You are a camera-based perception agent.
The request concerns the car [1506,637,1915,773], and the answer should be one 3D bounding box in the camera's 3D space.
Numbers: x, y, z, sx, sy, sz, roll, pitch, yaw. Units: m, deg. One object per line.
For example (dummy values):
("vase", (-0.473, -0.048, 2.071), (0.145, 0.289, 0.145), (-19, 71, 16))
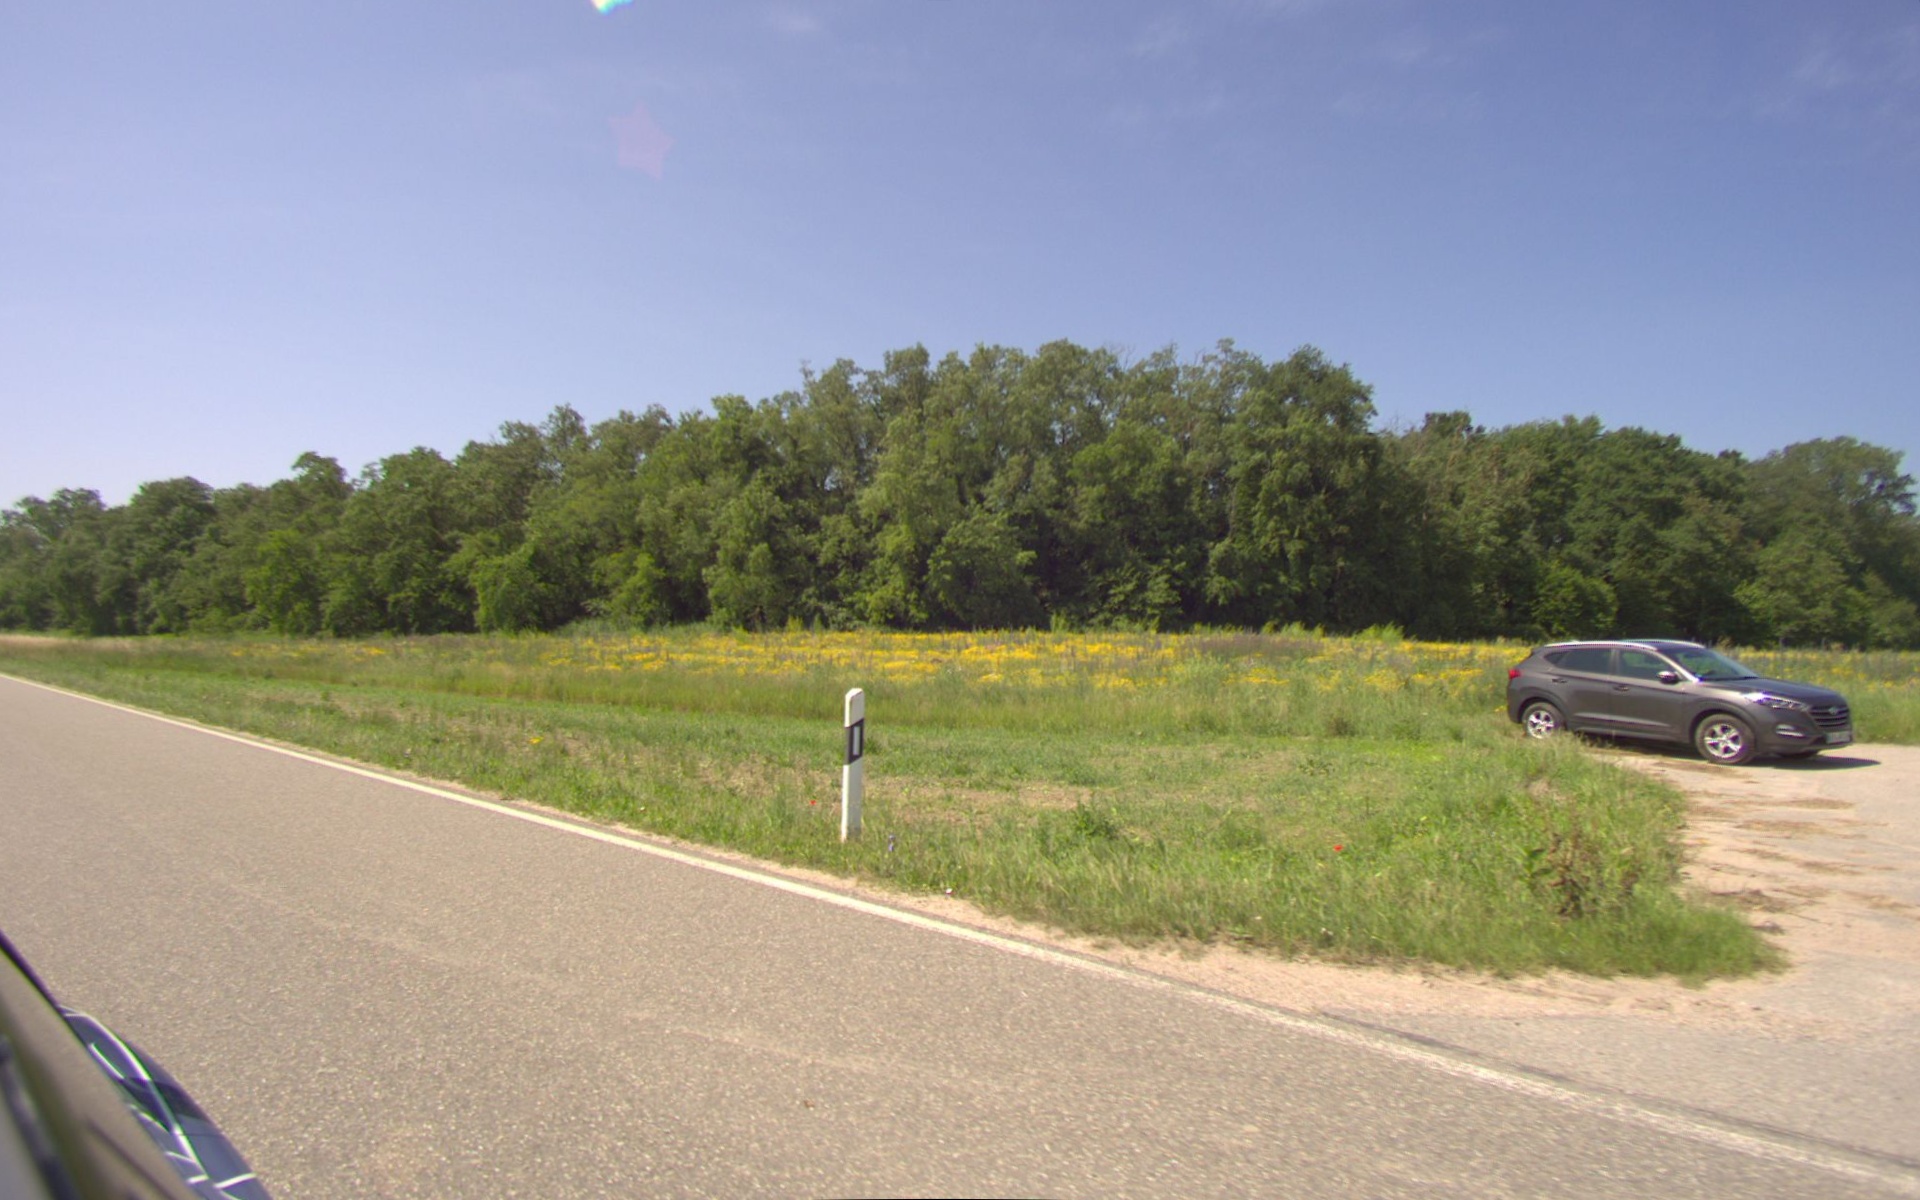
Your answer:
("car", (10.677, 1.381, 14.882), (1.728, 1.664, 4.544), (1, -2, -23))
